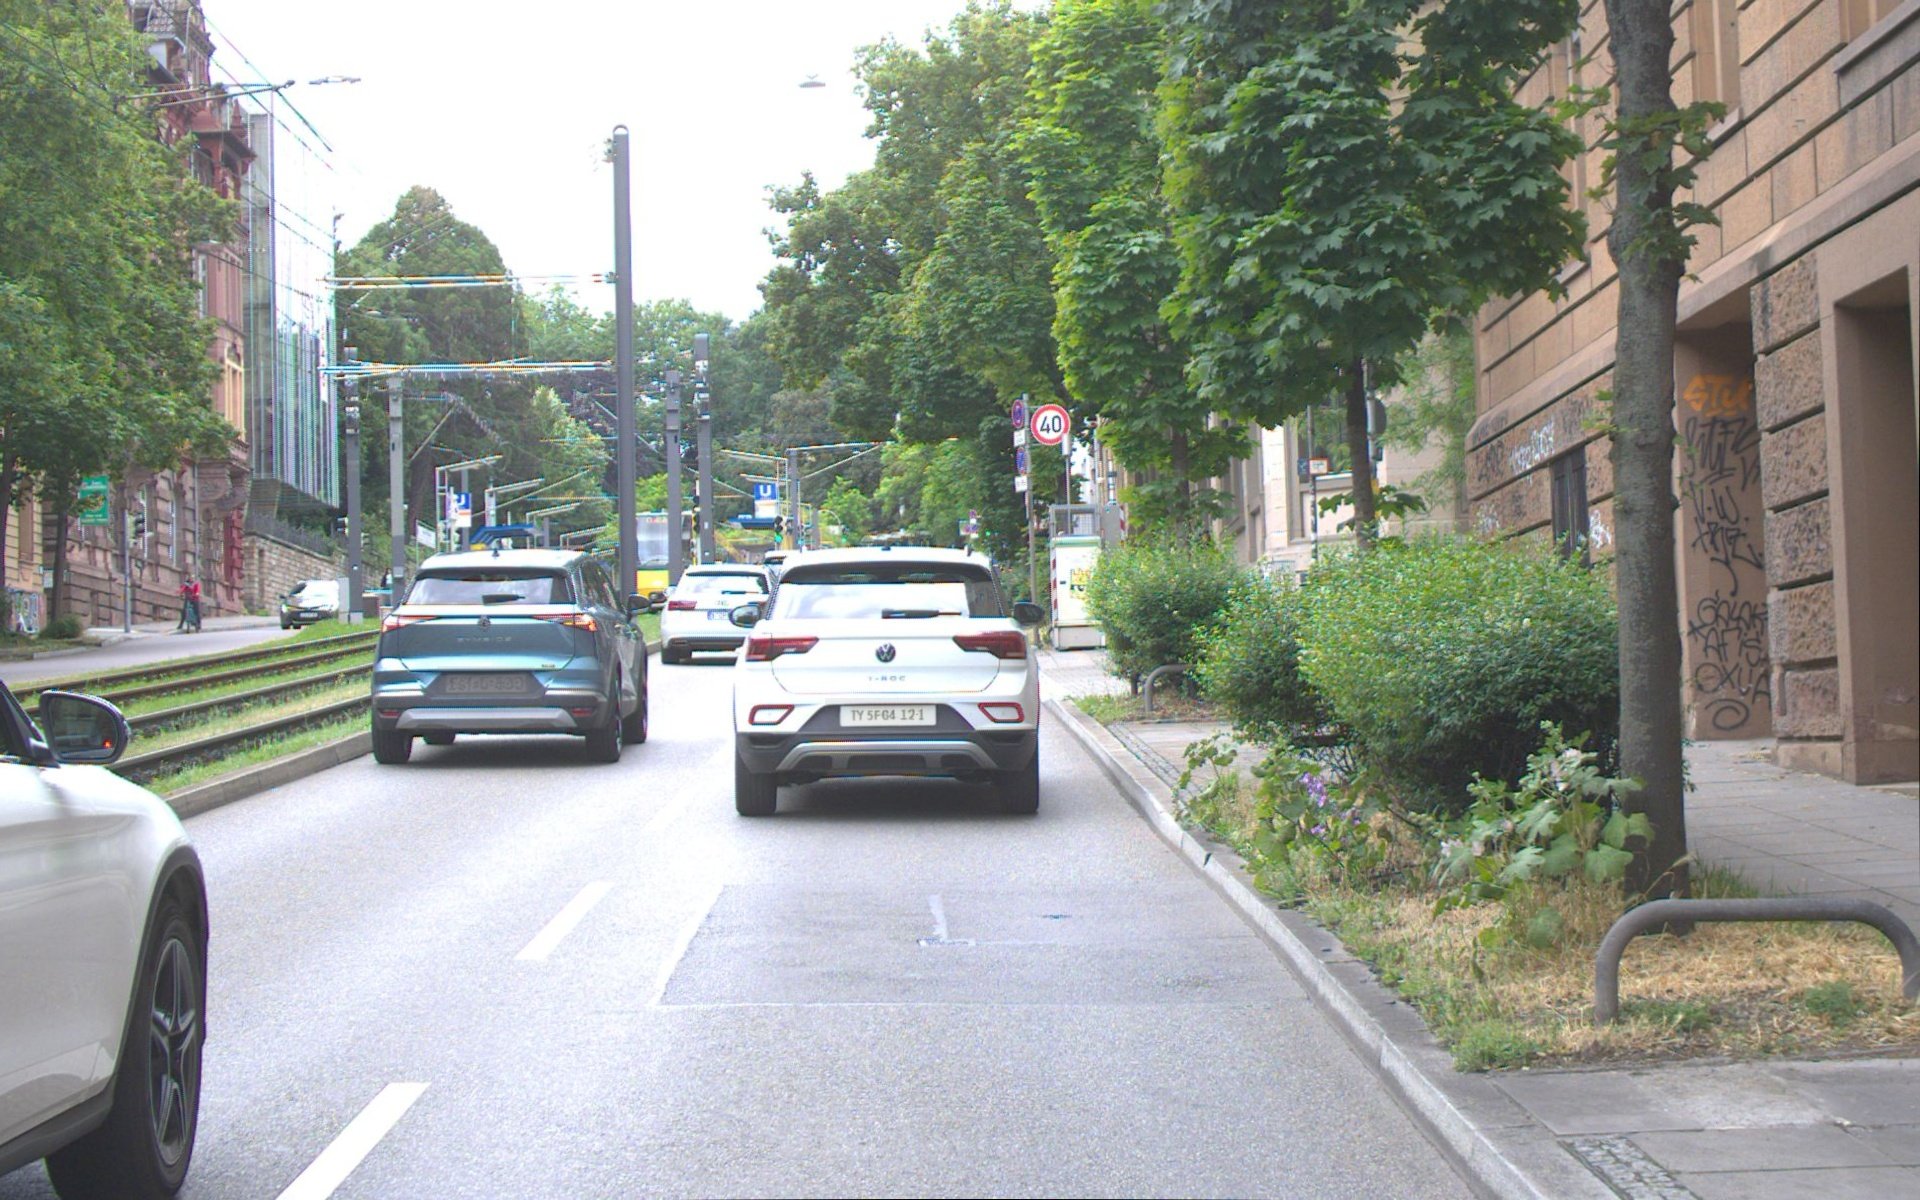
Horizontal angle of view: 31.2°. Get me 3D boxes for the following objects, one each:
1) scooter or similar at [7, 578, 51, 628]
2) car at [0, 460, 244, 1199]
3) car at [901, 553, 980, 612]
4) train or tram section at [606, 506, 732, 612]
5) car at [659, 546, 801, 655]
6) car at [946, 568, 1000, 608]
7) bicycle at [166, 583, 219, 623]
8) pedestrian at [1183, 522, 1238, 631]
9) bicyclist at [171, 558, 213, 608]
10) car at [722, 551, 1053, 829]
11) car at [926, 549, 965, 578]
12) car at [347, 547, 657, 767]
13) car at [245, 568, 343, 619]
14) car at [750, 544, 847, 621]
[{"bbox_3d":[-24.149,0.060,89.200,0.629,1.250,2.215,-1,1,-3],"label":"scooter or similar"},{"bbox_3d":[-2.697,0.569,6.225,1.835,1.661,4.671,0,1,0],"label":"car"},{"bbox_3d":[-0.514,-0.484,91.845,2.068,1.541,4.193,0,1,0],"label":"car"},{"bbox_3d":[-9.789,-1.374,117.145,2.996,3.337,13.439,-1,1,0],"label":"train or tram section"},{"bbox_3d":[-3.366,-0.018,50.905,1.835,1.541,4.193,0,1,0],"label":"car"},{"bbox_3d":[0.482,-0.481,133.289,2.068,1.541,4.193,0,1,0],"label":"car"},{"bbox_3d":[-22.096,0.075,99.017,0.938,1.096,2.703,-1,1,-1],"label":"bicycle"},{"bbox_3d":[3.912,-0.375,53.662,0.710,1.657,1.126,-1,1,10],"label":"pedestrian"},{"bbox_3d":[-22.118,-0.500,99.053,0.938,1.420,1.188,-1,1,-1],"label":"bicyclist"},{"bbox_3d":[-0.461,0.479,21.193,1.835,1.541,4.194,0,1,-2],"label":"car"},{"bbox_3d":[-0.800,-2.009,189.200,2.068,1.541,4.193,0,1,0],"label":"car"},{"bbox_3d":[-3.413,0.380,26.349,1.835,1.541,4.193,0,1,0],"label":"car"},{"bbox_3d":[-19.077,-0.211,98.666,1.993,1.398,4.000,-1,1,0],"label":"car"},{"bbox_3d":[-3.324,-0.378,71.280,1.835,1.541,4.193,0,1,0],"label":"car"}]
